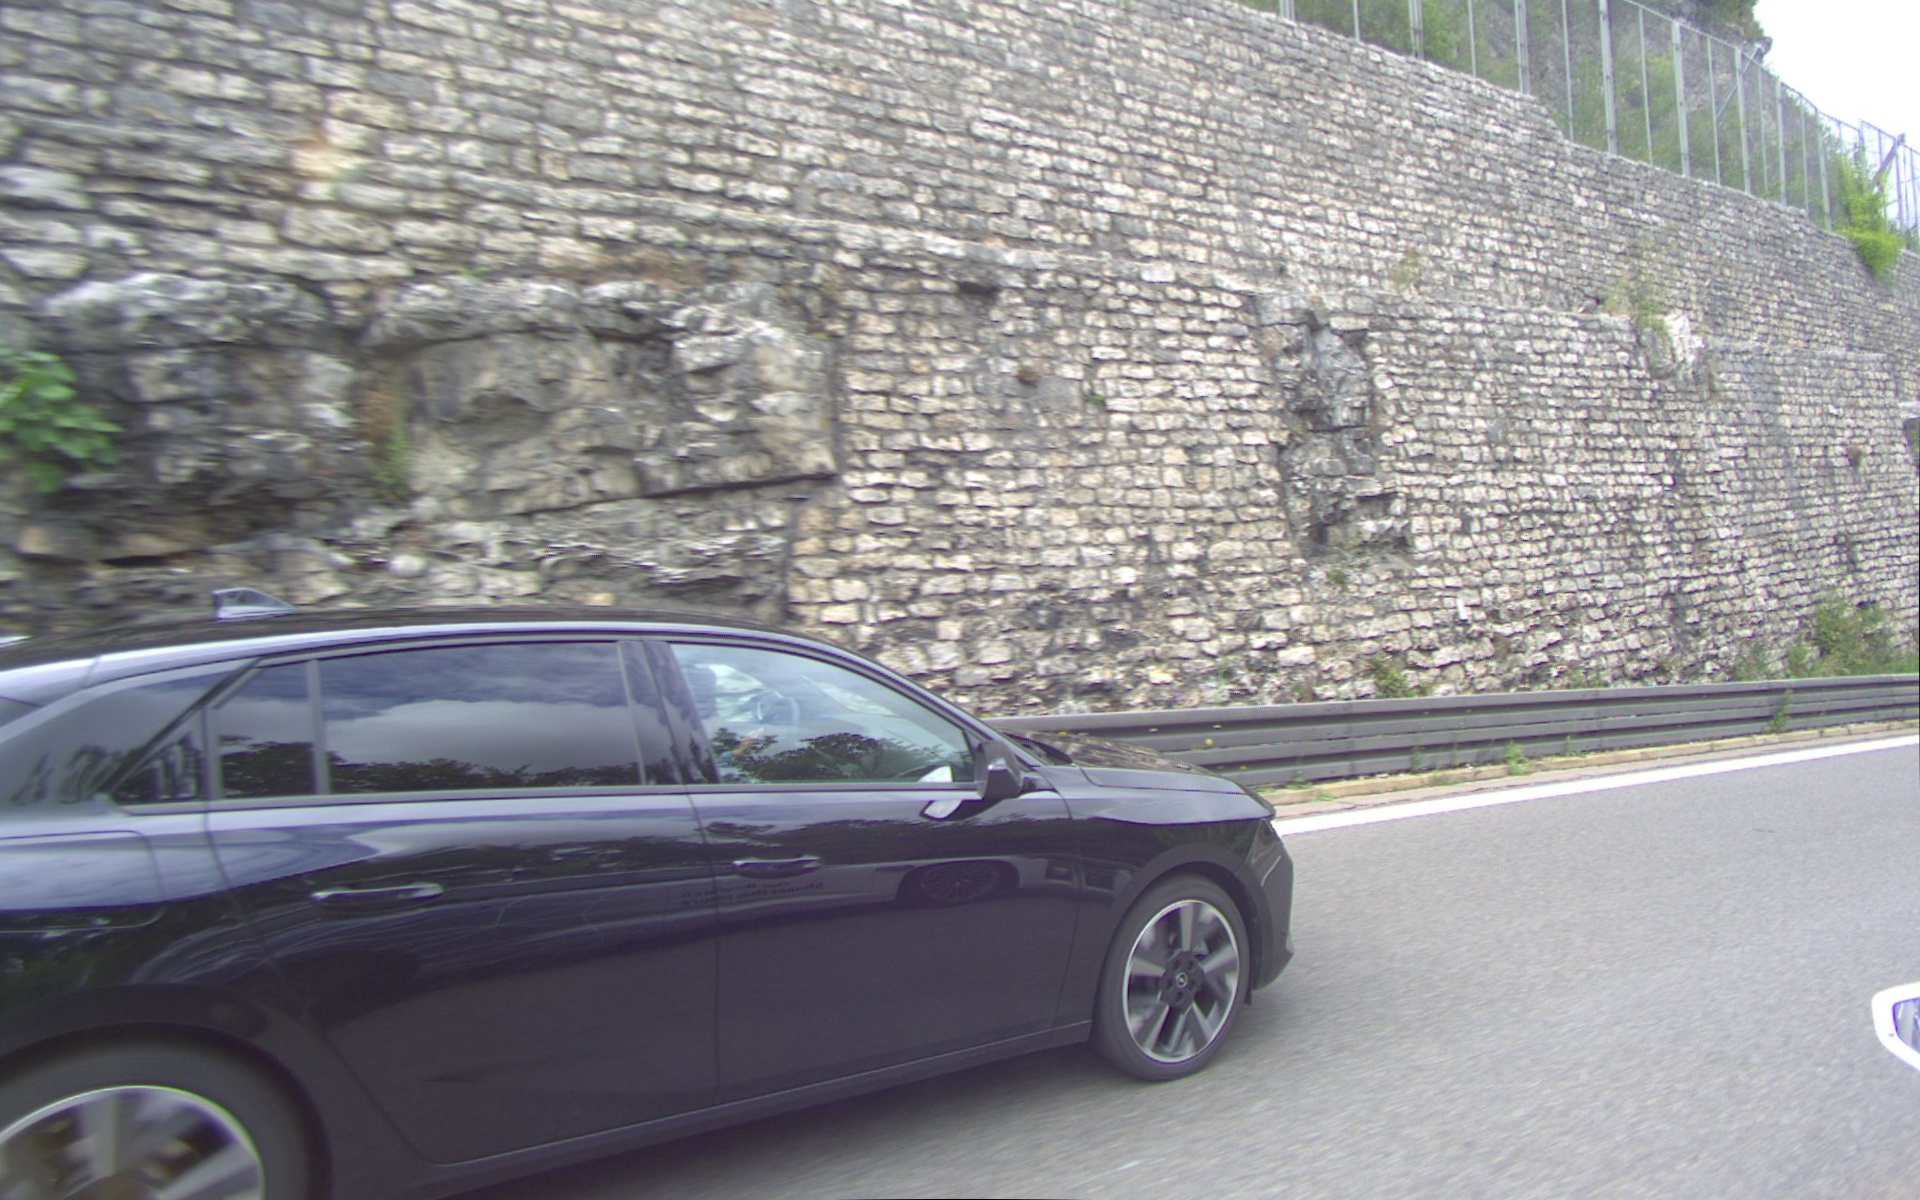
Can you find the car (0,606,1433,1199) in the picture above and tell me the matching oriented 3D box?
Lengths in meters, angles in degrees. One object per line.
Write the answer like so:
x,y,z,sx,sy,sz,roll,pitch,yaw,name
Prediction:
-0.686,0.802,3.268,4.527,1.480,1.765,1,0,-30,car
